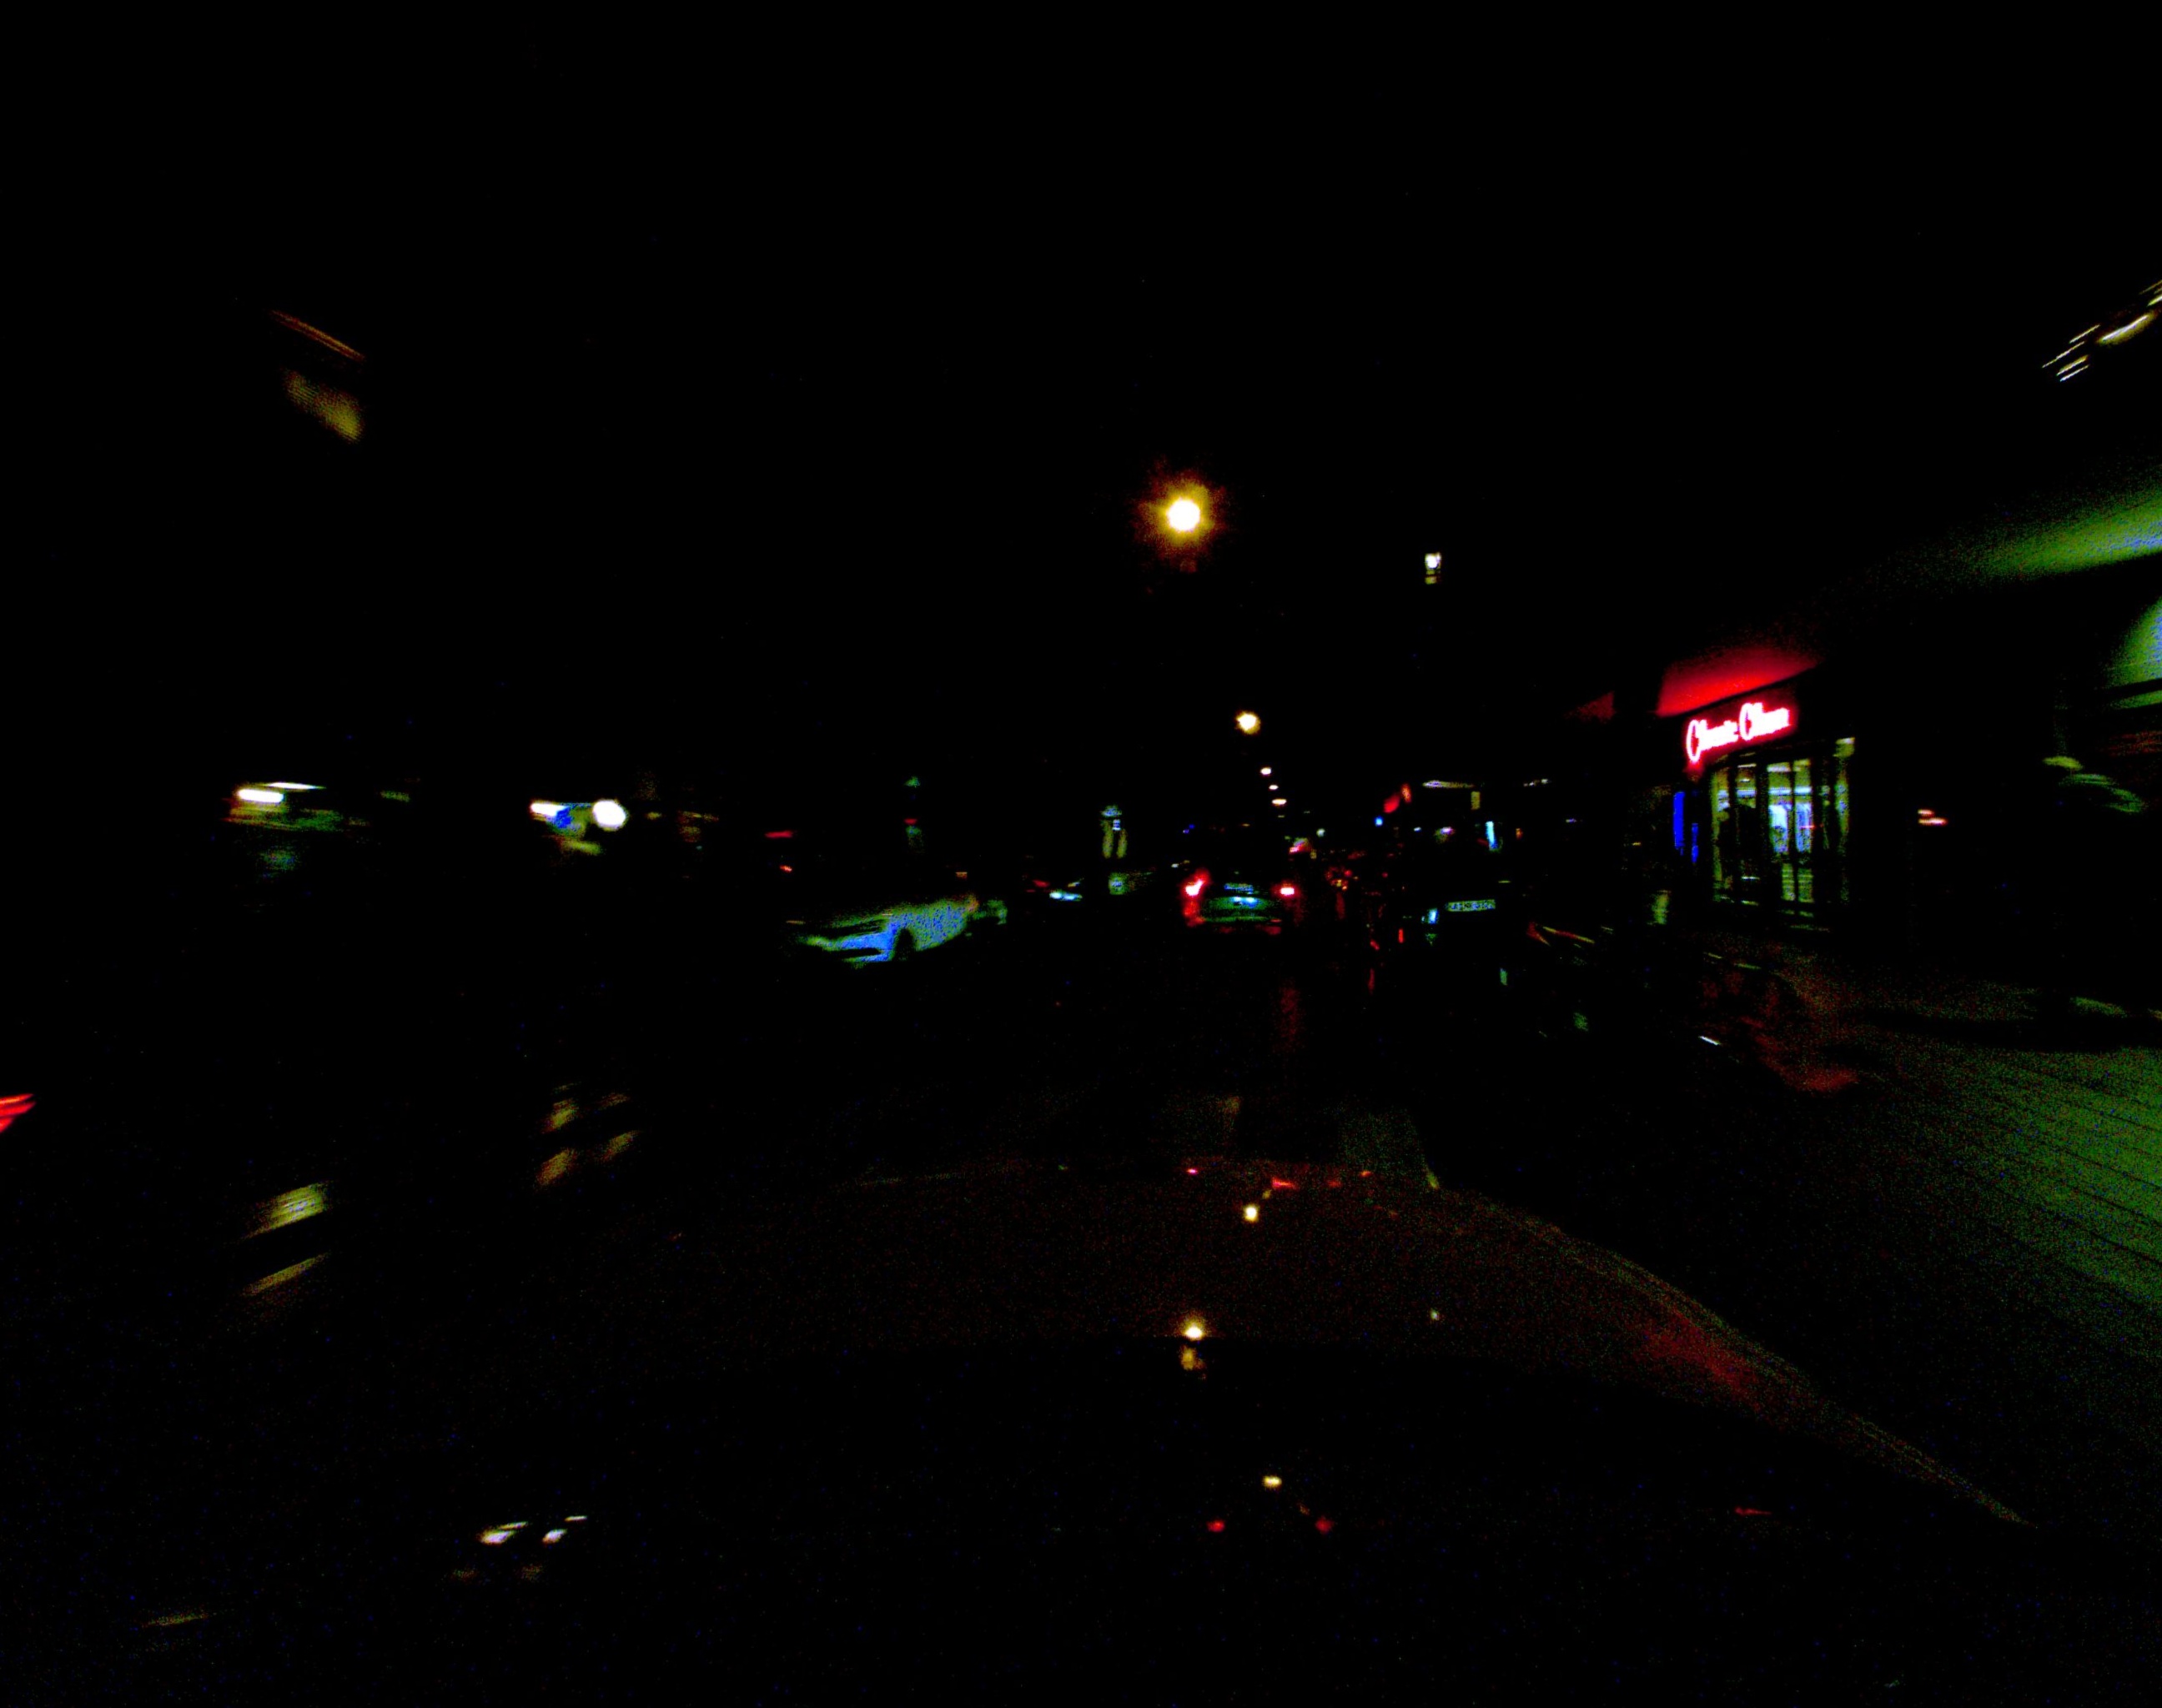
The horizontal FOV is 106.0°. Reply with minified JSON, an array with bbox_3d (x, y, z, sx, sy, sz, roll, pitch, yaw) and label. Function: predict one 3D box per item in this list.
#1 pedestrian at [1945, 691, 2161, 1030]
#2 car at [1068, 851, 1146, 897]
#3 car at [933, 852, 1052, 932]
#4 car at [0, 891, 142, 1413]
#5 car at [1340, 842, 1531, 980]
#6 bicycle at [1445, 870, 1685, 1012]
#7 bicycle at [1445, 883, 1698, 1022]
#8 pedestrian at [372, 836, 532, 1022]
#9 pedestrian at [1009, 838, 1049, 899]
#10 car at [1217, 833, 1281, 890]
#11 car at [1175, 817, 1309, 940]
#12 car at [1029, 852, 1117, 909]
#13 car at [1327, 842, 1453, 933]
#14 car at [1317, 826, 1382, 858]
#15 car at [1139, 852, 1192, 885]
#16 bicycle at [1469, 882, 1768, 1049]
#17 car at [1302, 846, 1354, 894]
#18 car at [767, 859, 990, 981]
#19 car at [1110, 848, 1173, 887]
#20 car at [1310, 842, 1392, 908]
[{"bbox_3d":[7.210,0.039,5.767,1.046,2.208,0.974,-3,-1,14],"label":"pedestrian"},{"bbox_3d":[0.979,0.635,27.872,1.678,1.400,4.334,-1,1,15],"label":"car"},{"bbox_3d":[-1.787,0.735,17.241,1.574,1.510,2.799,-1,1,15],"label":"car"},{"bbox_3d":[-4.421,0.905,0.907,1.549,1.427,4.092,-3,0,23],"label":"car"},{"bbox_3d":[4.737,0.662,11.470,1.741,1.565,4.169,0,0,13],"label":"car"},{"bbox_3d":[4.346,0.788,7.418,1.750,1.125,0.437,-5,0,12],"label":"bicycle"},{"bbox_3d":[4.062,0.814,6.848,1.750,1.079,0.437,-2,0,12],"label":"bicycle"},{"bbox_3d":[-6.401,0.708,8.332,0.797,1.766,1.021,0,0,20],"label":"pedestrian"},{"bbox_3d":[-1.639,0.449,25.601,1.025,1.864,0.980,0,0,11],"label":"pedestrian"},{"bbox_3d":[6.190,0.221,30.183,2.109,1.922,4.841,-1,1,11],"label":"car"},{"bbox_3d":[3.125,0.391,15.558,2.108,1.991,4.617,-1,0,13],"label":"car"},{"bbox_3d":[-0.141,0.689,22.851,1.574,1.449,3.517,-1,1,15],"label":"car"},{"bbox_3d":[5.876,0.576,15.964,1.741,1.538,4.414,0,0,13],"label":"car"},{"bbox_3d":[17.707,-0.802,53.869,3.957,2.013,2.008,-1,1,15],"label":"car"},{"bbox_3d":[4.042,0.626,38.439,1.979,1.449,4.015,0,0,13],"label":"car"},{"bbox_3d":[3.879,0.806,5.988,1.771,1.125,0.437,-2,0,12],"label":"bicycle"},{"bbox_3d":[8.440,0.513,28.008,1.580,1.543,3.433,-1,0,15],"label":"car"},{"bbox_3d":[-2.922,0.870,12.703,1.575,1.463,4.040,2,1,15],"label":"car"},{"bbox_3d":[2.599,0.490,33.855,1.741,1.448,4.642,1,1,15],"label":"car"},{"bbox_3d":[7.142,0.524,21.848,1.741,1.608,4.004,0,0,13],"label":"car"}]
